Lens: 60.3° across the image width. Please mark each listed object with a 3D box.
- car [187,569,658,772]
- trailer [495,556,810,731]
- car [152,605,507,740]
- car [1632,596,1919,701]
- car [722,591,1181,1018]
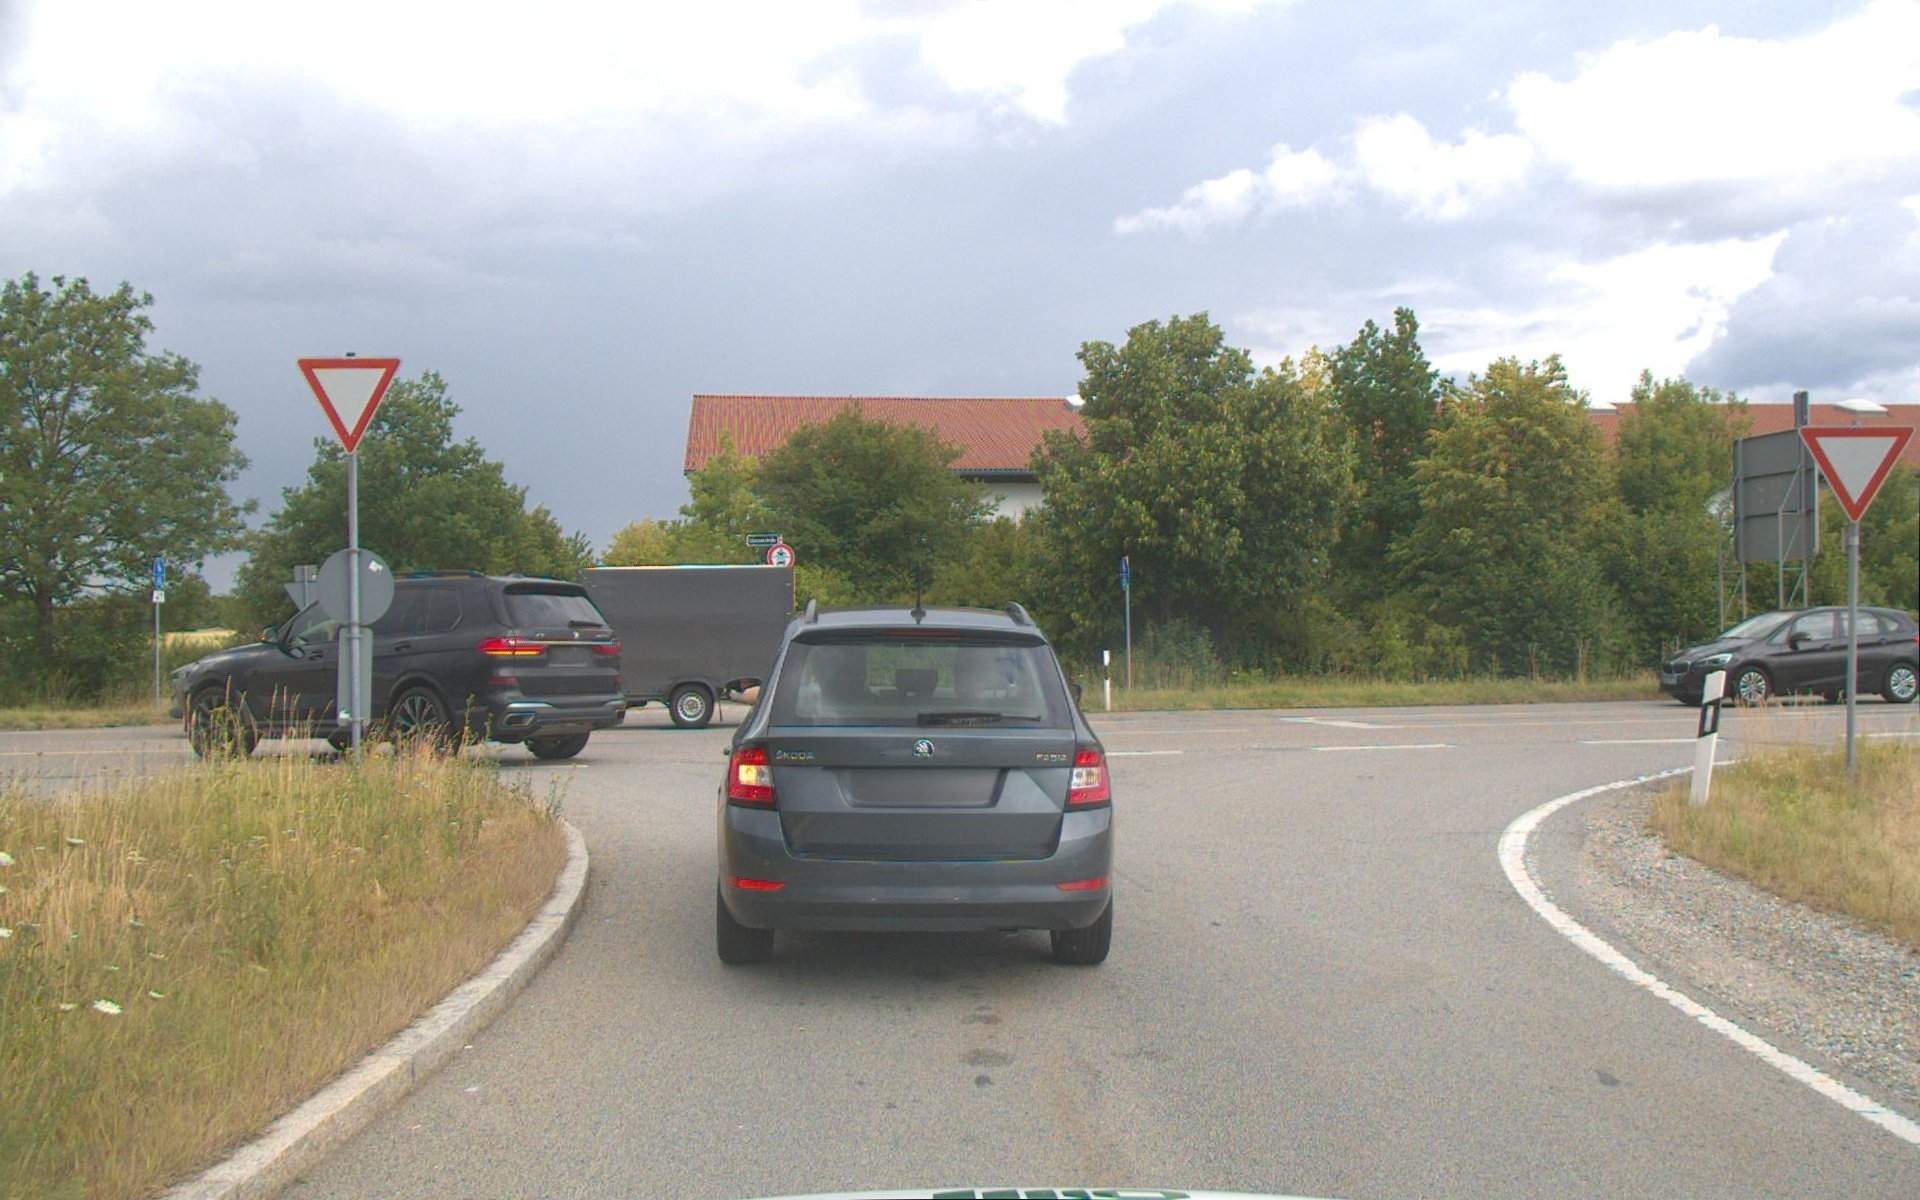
[{"bbox_3d":[-5.470,0.672,16.722,4.541,1.806,1.997,-1,-1,29],"label":"car"},{"bbox_3d":[-4.466,0.614,24.337,4.302,2.333,2.411,-1,-1,-10],"label":"trailer"},{"bbox_3d":[-8.801,0.996,23.487,4.384,1.712,1.994,-1,-1,-11],"label":"car"},{"bbox_3d":[13.474,0.760,26.971,4.208,1.513,1.996,-2,-1,-9],"label":"car"},{"bbox_3d":[-0.241,0.734,7.735,1.644,1.488,3.701,0,-1,-7],"label":"car"}]
